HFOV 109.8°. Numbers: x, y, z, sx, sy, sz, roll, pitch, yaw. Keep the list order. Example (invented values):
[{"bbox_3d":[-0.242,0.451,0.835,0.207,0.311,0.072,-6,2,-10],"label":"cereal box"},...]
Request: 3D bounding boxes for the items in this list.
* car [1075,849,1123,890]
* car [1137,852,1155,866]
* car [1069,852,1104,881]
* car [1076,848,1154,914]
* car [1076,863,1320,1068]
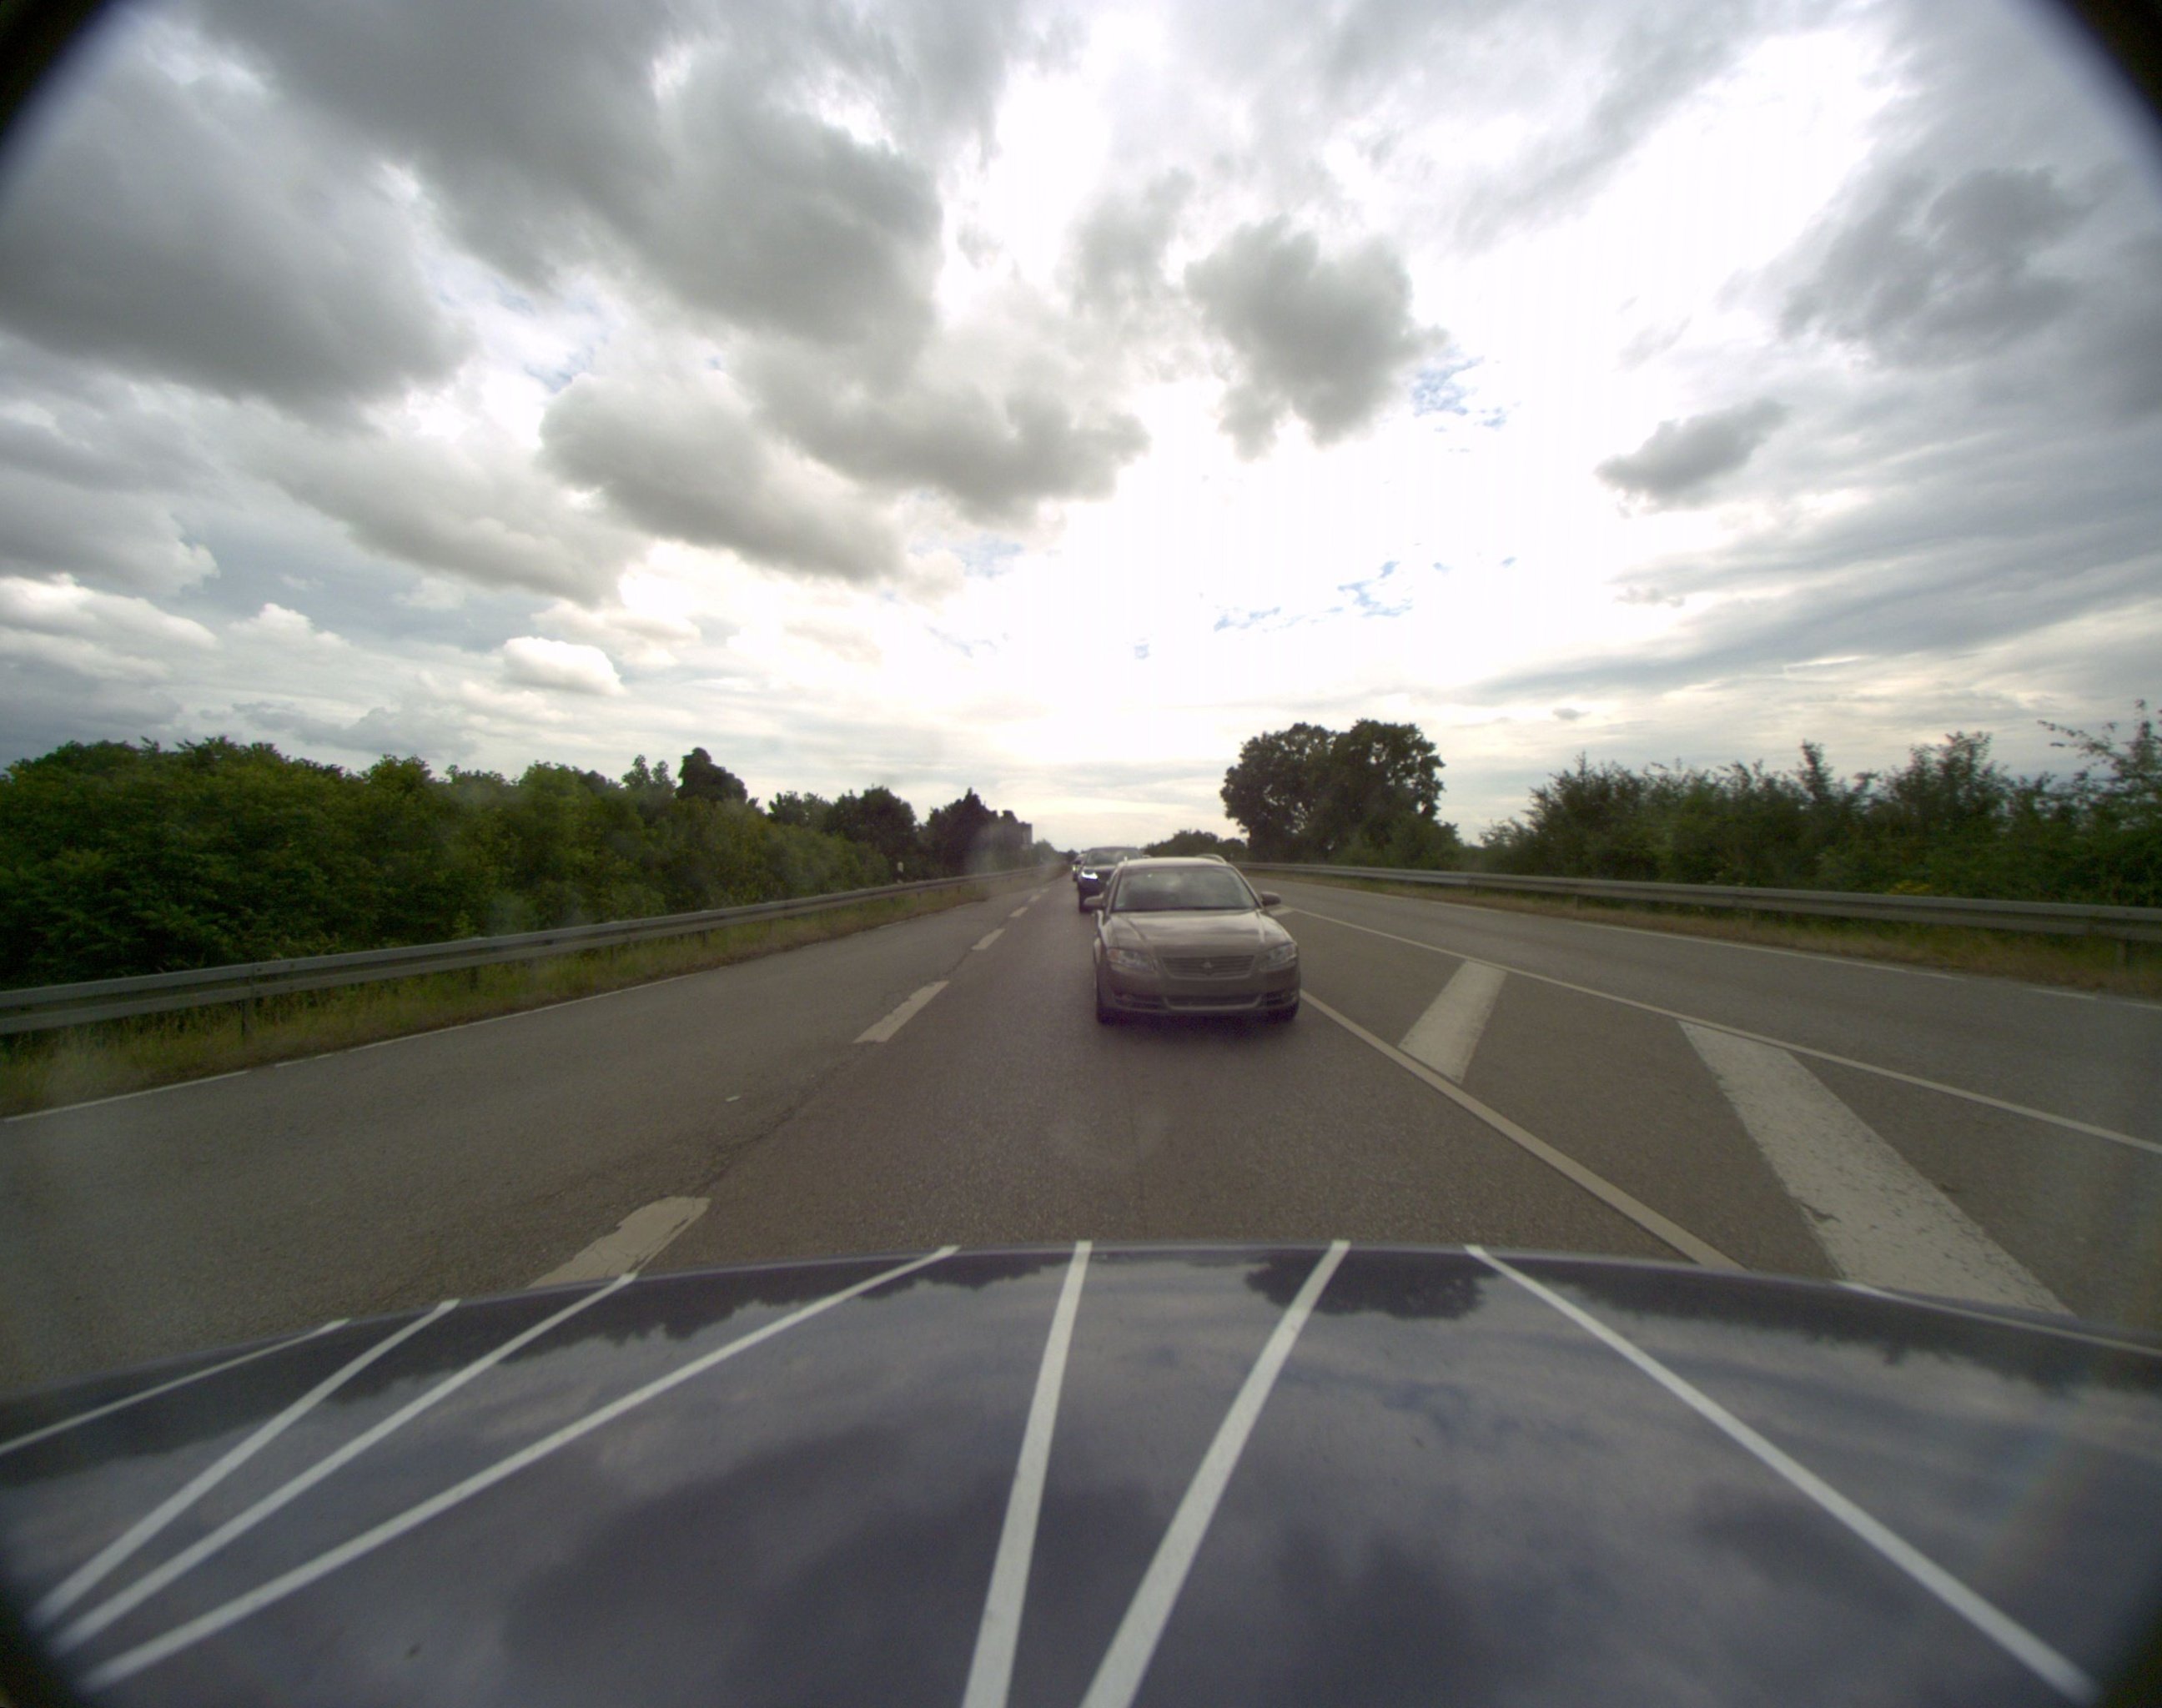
[{"bbox_3d":[0.724,0.607,31.905,1.834,1.538,4.034,-1,0,1],"label":"car"},{"bbox_3d":[6.685,0.486,78.326,1.824,1.366,4.612,-1,1,4],"label":"car"},{"bbox_3d":[0.318,0.653,43.192,1.834,1.538,4.034,-1,0,1],"label":"car"},{"bbox_3d":[0.835,0.651,20.195,1.834,1.538,4.034,-1,0,1],"label":"car"},{"bbox_3d":[0.896,0.858,7.682,1.784,1.442,4.034,-1,0,1],"label":"car"}]
